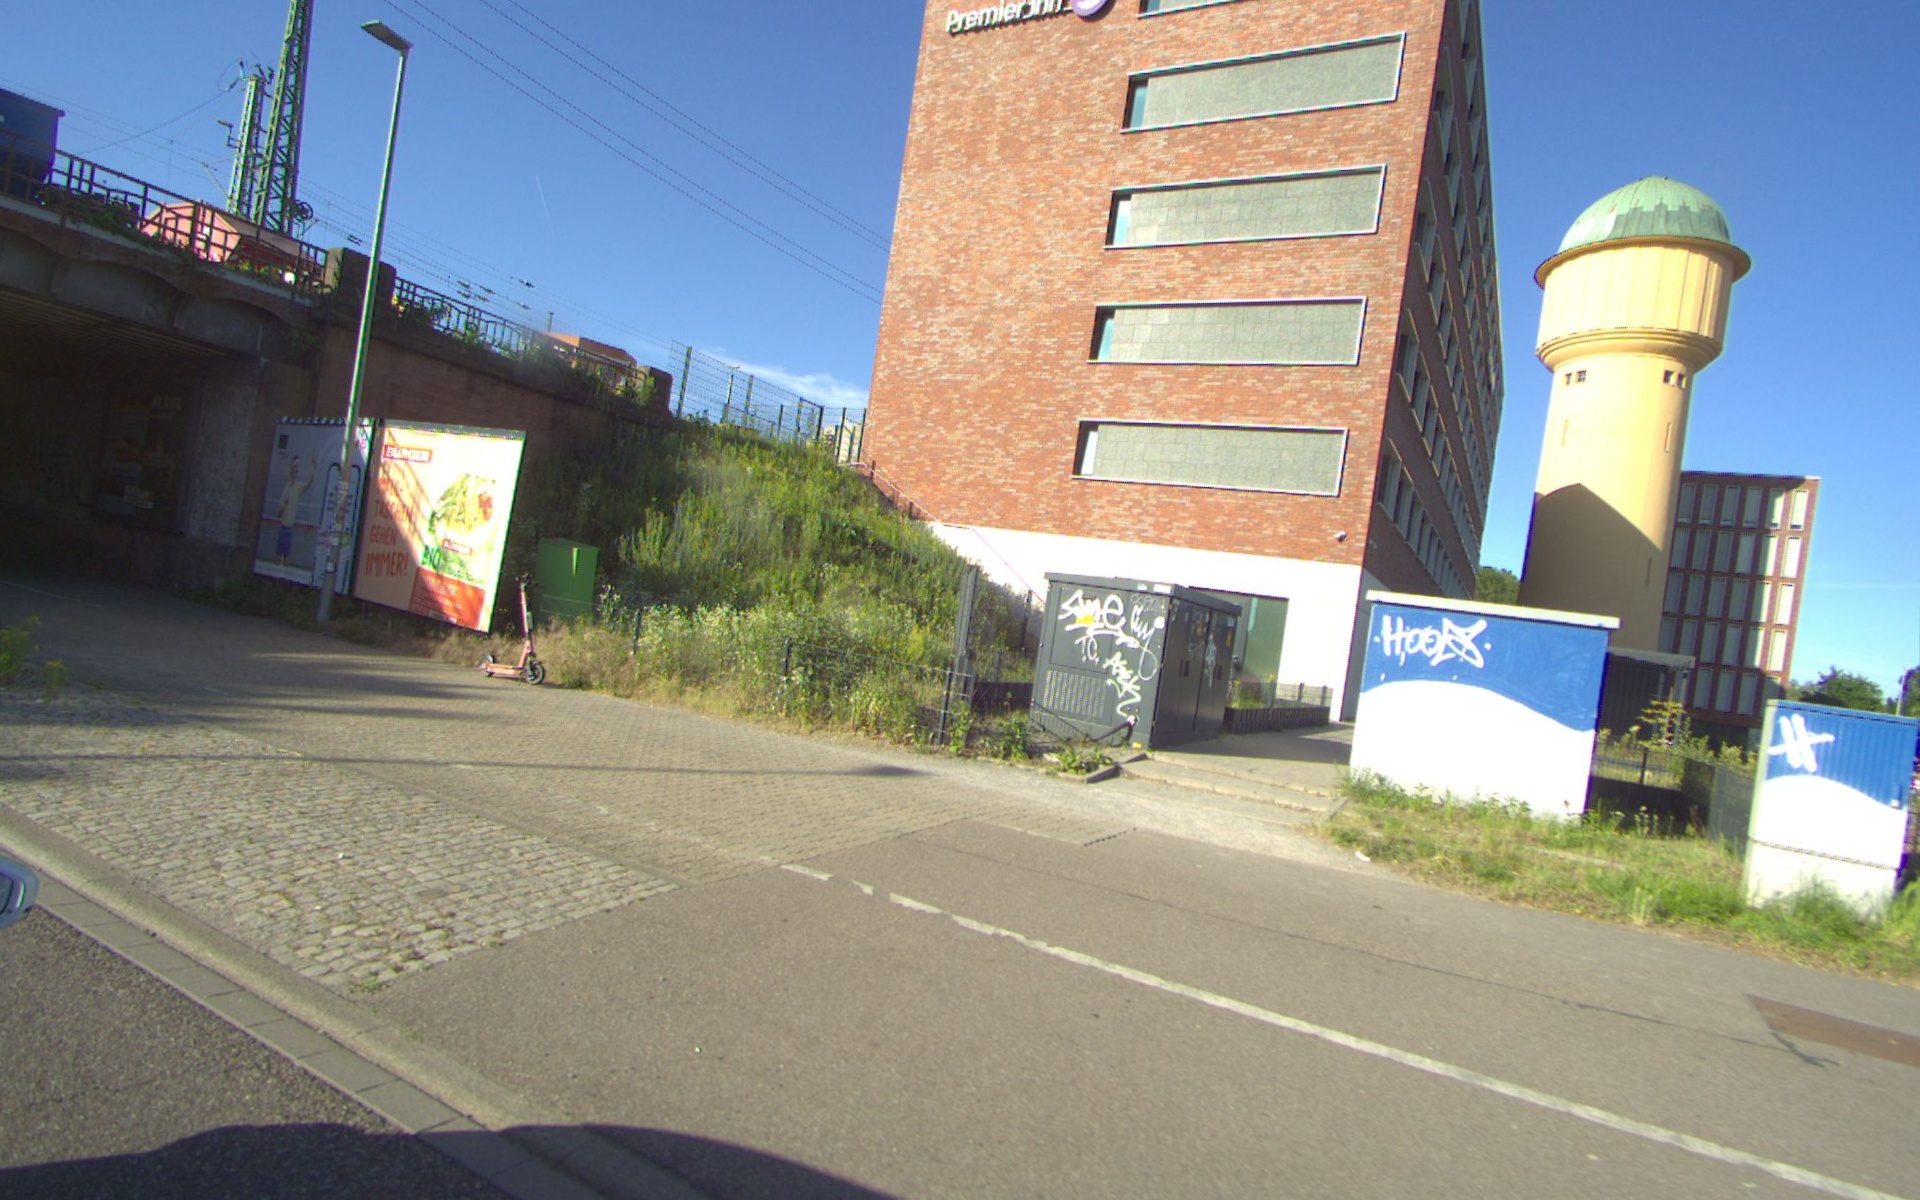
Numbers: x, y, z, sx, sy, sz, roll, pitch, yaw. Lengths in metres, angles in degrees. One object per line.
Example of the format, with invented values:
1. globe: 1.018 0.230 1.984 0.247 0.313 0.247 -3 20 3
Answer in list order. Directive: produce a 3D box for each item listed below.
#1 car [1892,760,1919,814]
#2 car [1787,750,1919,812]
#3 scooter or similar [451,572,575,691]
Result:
1. car: 37.648 7.285 37.091 4.258 1.849 1.999 8 -1 29
2. car: 43.769 8.829 49.353 4.455 2.037 1.998 8 -1 30
3. scooter or similar: -5.182 0.360 11.655 1.269 1.211 0.538 7 -1 31
